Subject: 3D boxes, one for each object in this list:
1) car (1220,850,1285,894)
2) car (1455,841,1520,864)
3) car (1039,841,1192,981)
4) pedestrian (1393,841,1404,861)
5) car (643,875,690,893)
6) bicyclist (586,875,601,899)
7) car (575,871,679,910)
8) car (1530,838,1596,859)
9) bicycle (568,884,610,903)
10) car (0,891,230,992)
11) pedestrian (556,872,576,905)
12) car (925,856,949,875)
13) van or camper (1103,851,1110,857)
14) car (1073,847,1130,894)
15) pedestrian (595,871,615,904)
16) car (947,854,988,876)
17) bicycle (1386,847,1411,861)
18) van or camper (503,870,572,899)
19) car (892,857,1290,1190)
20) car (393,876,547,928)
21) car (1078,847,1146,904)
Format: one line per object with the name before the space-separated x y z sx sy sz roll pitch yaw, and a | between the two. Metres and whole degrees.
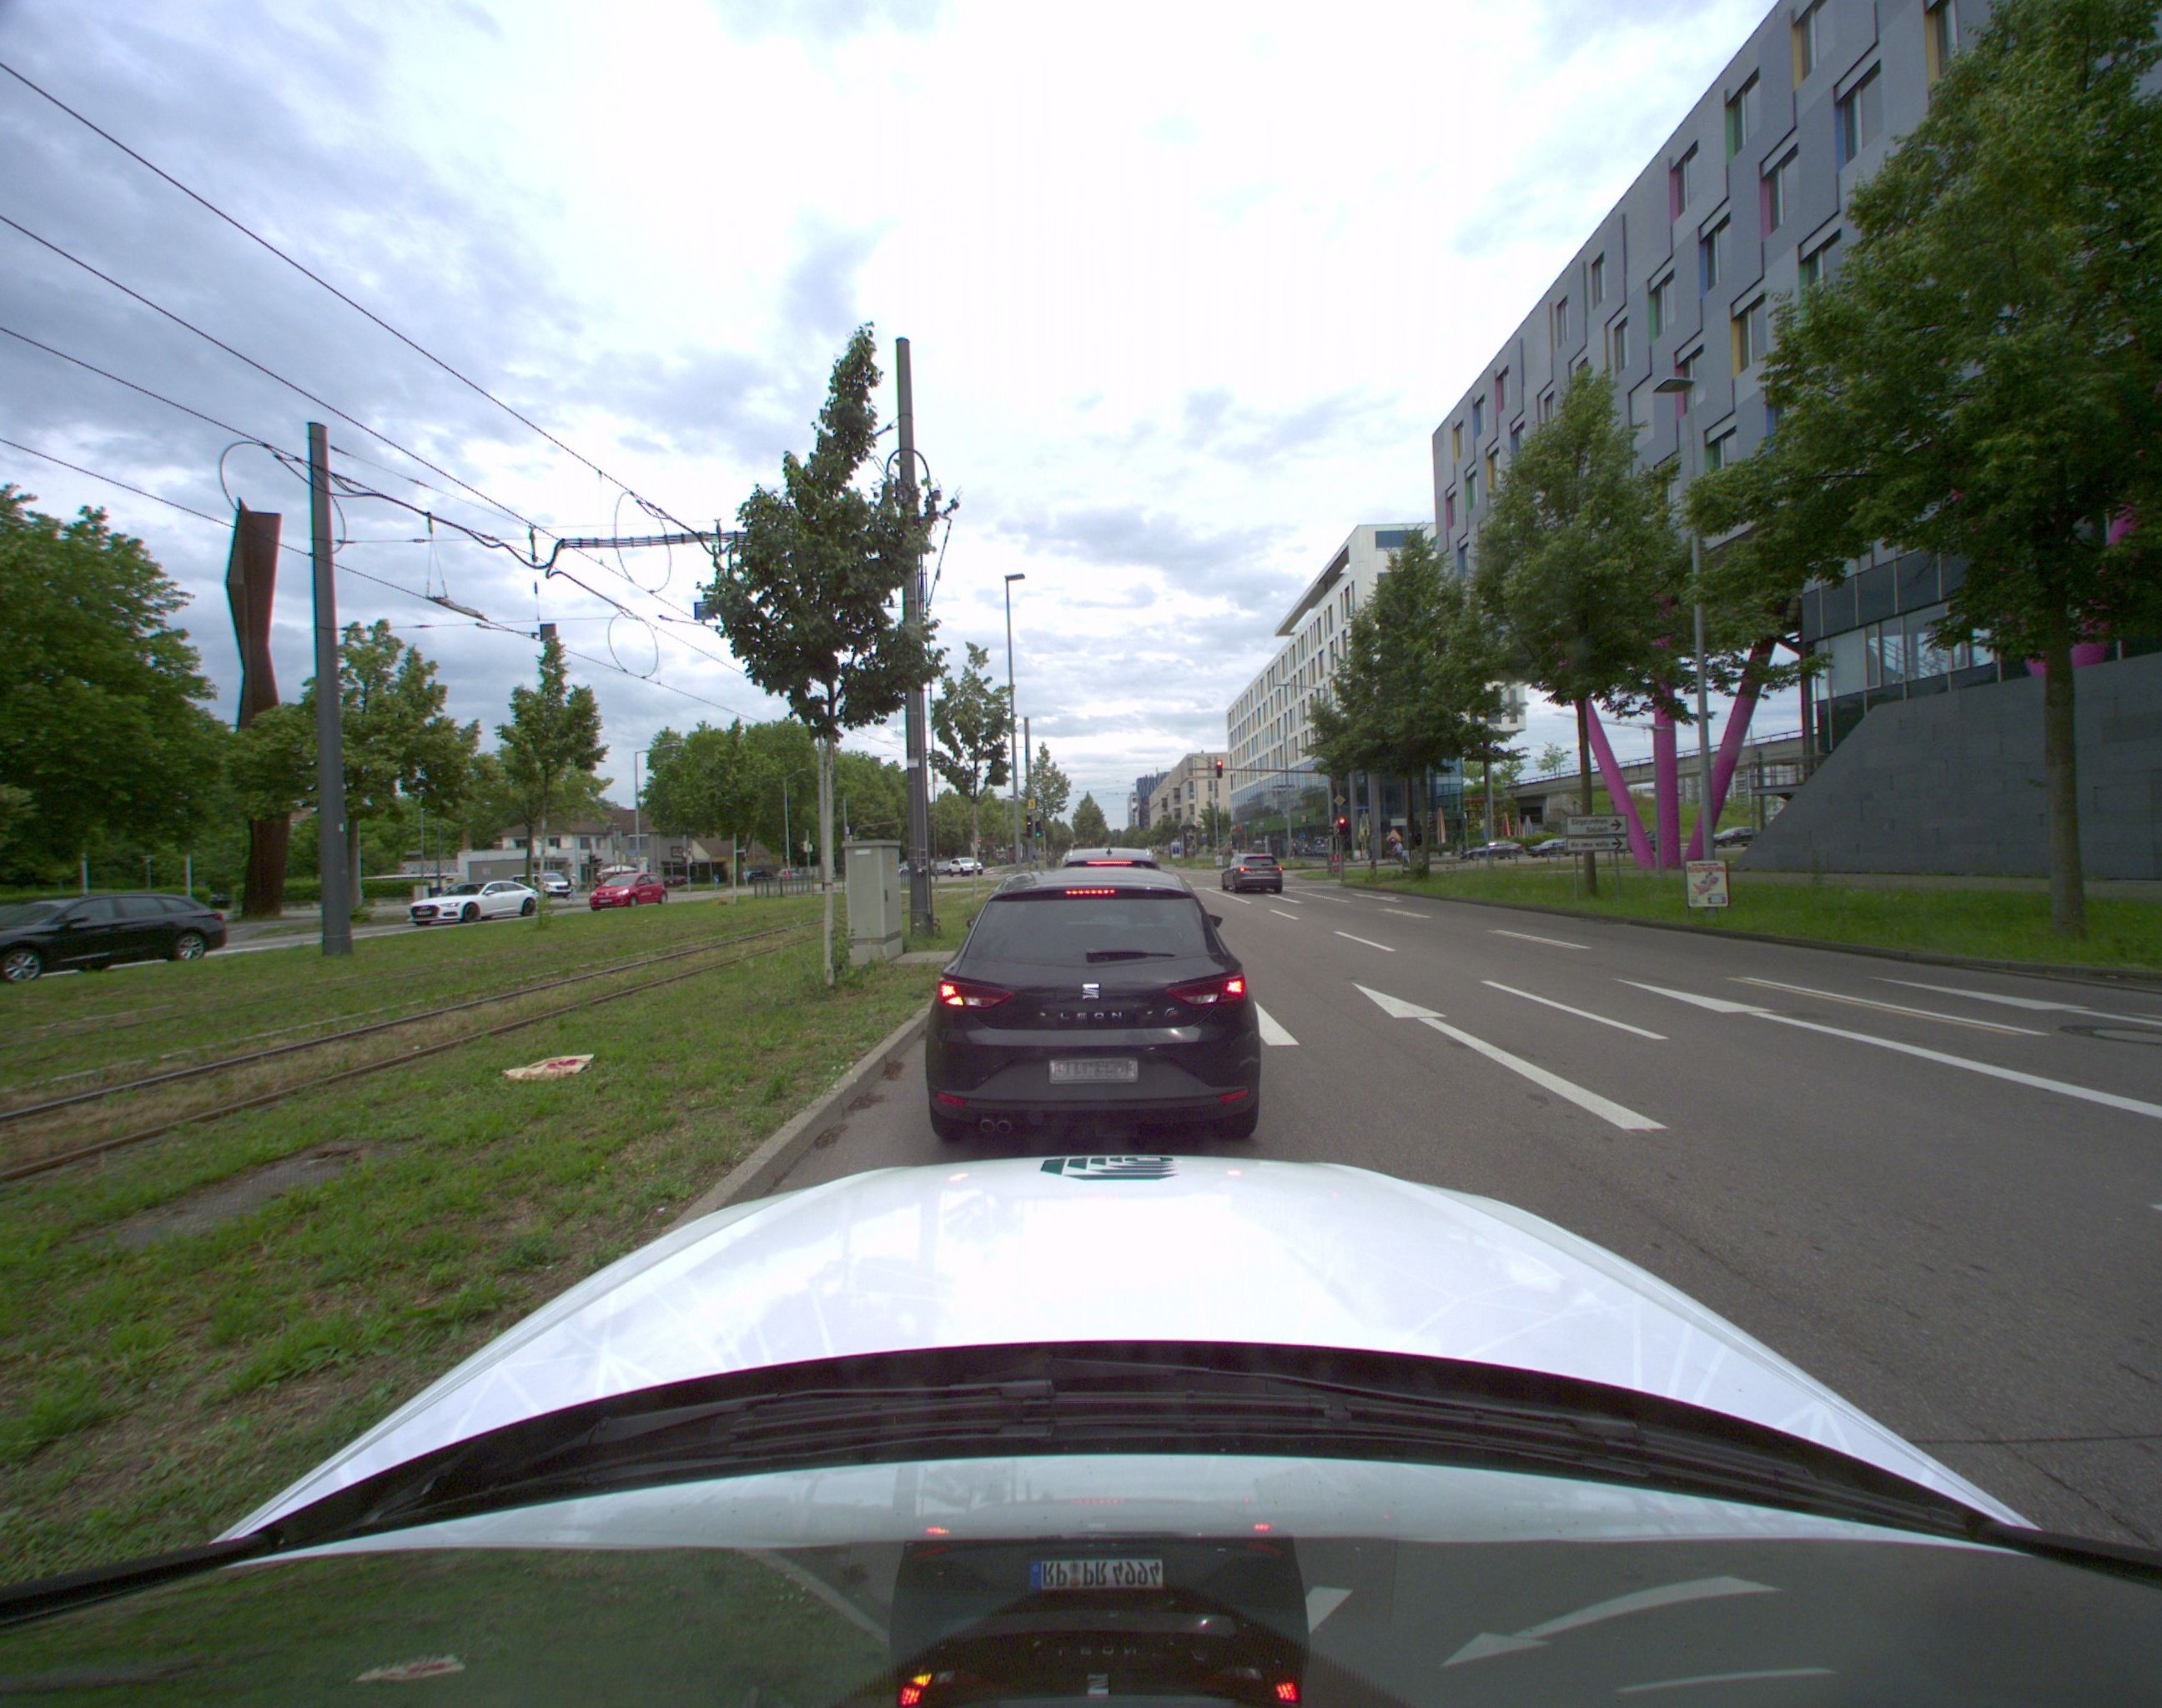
car | 6.544 0.631 31.502 1.741 1.499 4.271 -2 1 2
car | 31.846 -0.140 63.868 4.233 1.615 1.759 -2 0 3
car | 0.477 0.685 11.818 1.796 1.624 4.002 -2 0 2
pedestrian | 25.691 -0.260 65.850 0.612 1.604 0.619 -2 0 4
car | -47.137 3.352 92.712 4.258 1.816 2.111 -2 0 6
bicyclist | -35.409 2.375 59.163 0.854 1.721 0.715 -2 0 -25
car | -18.728 1.458 33.820 1.805 1.377 4.270 -2 0 1
car | 37.861 -0.440 64.045 4.063 1.455 1.759 -2 0 3
bicycle | -35.642 2.883 59.053 2.520 1.202 0.734 -2 0 -25
car | -17.482 1.441 13.914 1.799 1.377 4.050 -2 0 -5
pedestrian | -32.860 2.182 51.935 0.910 2.013 0.942 -2 0 -40
car | -14.340 1.140 81.097 1.997 1.750 3.979 -2 0 -15
van or camper | 8.236 -0.024 261.196 1.986 1.615 4.792 -1 1 2
car | 0.851 0.576 31.270 1.985 1.682 4.005 -1 0 4
pedestrian | -27.655 1.921 47.310 0.779 1.832 0.771 -2 0 -16
car | -9.845 0.938 70.407 2.006 1.750 4.159 -2 0 -30
bicycle | 25.679 0.006 65.852 1.784 1.085 0.618 -2 0 3
van or camper | -41.618 2.321 62.331 5.212 2.013 2.481 -2 0 34
car | 0.081 0.755 5.597 1.737 1.417 4.001 -1 0 1
car | -22.521 1.703 30.338 1.805 1.588 5.078 -2 0 1
car | 1.080 0.635 26.200 1.984 1.682 4.005 -1 0 5
